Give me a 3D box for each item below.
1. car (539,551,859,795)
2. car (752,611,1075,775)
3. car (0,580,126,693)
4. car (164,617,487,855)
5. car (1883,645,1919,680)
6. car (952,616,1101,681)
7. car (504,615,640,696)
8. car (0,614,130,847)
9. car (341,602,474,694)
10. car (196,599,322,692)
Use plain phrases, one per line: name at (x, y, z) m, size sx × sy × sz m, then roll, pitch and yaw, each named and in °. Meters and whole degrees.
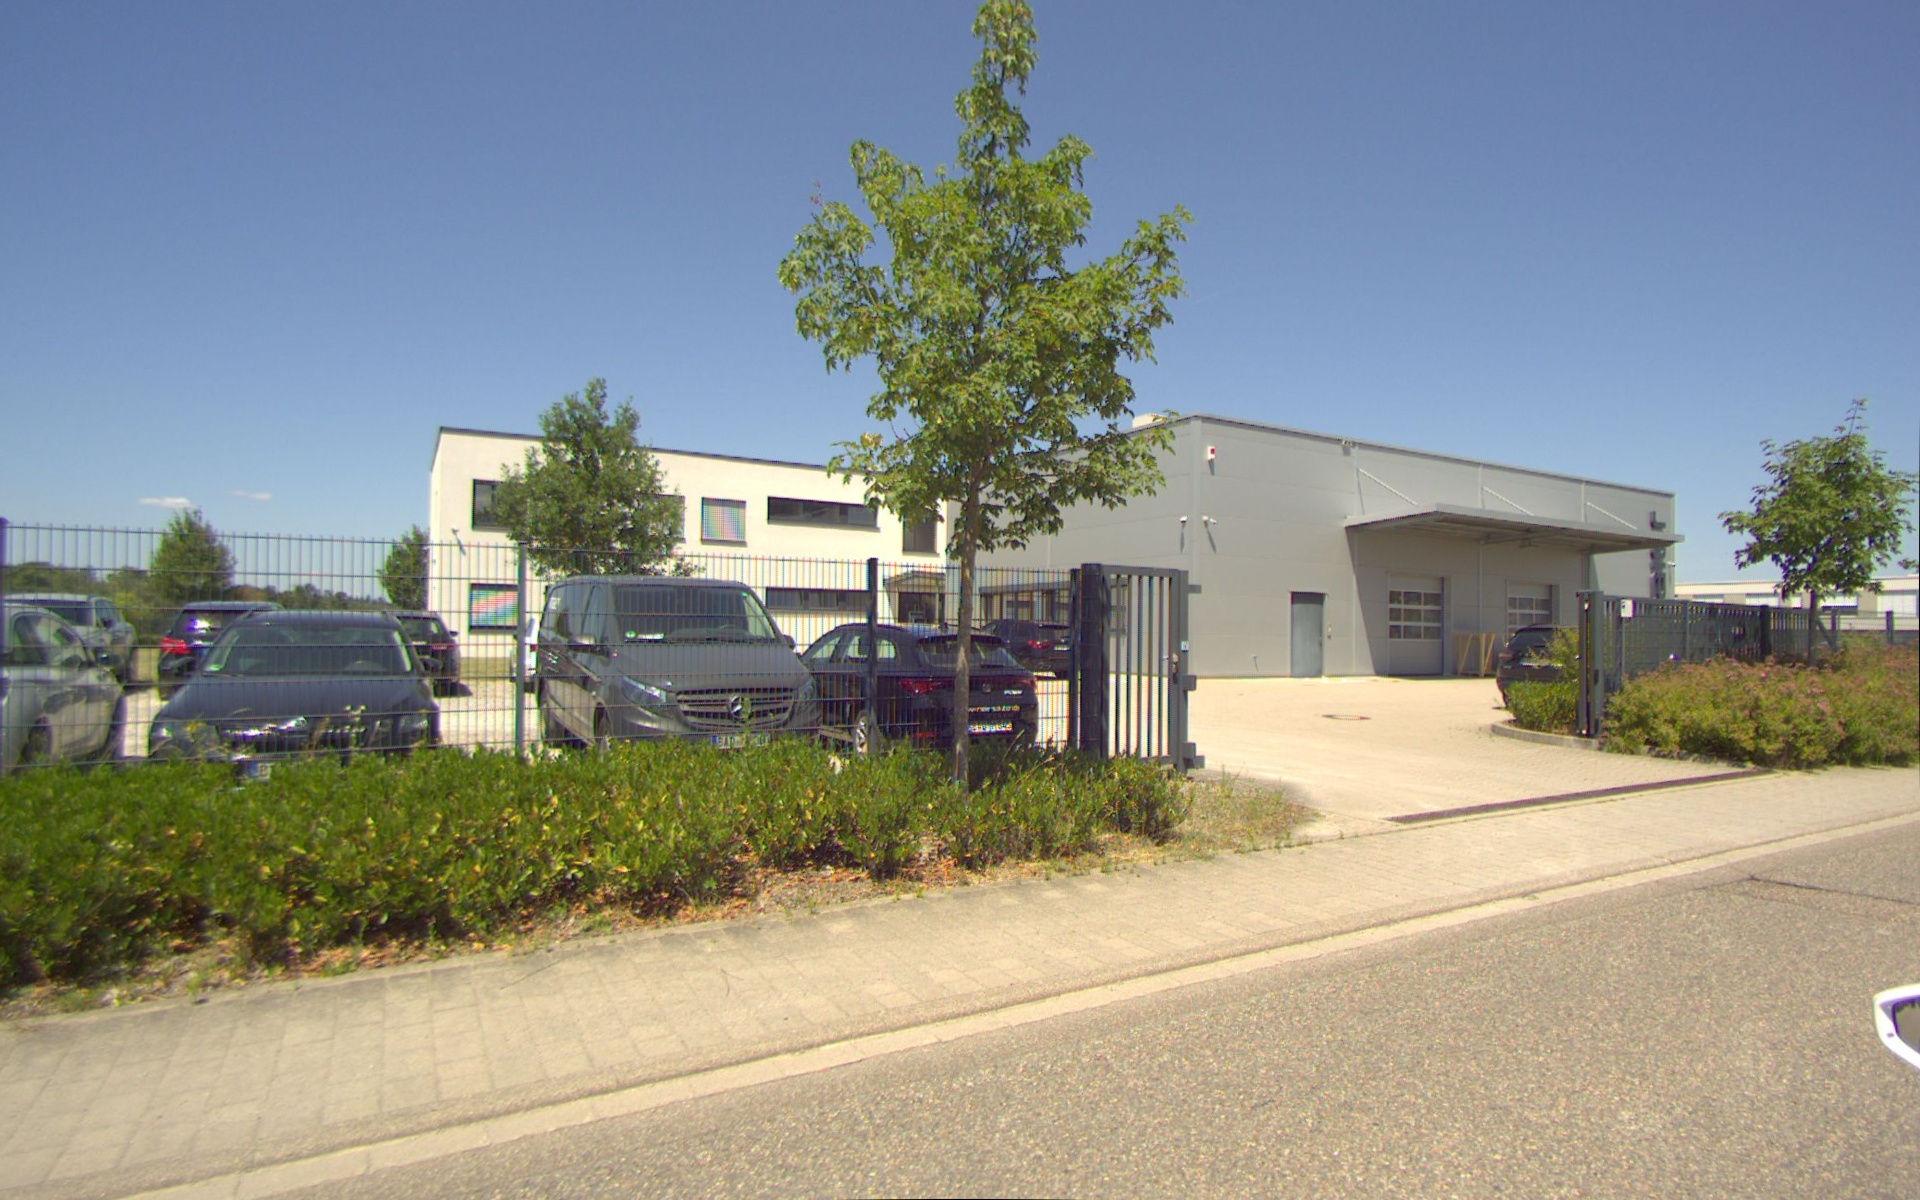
car at (-2.975, 0.603, 10.419) m, size 1.941 × 1.875 × 5.035 m, roll 1°, pitch -1°, yaw -30°
car at (-0.750, 0.887, 11.454) m, size 1.941 × 1.465 × 4.284 m, roll 2°, pitch -1°, yaw -30°
car at (-14.457, 0.530, 15.782) m, size 1.460 × 1.605 × 3.455 m, roll 1°, pitch -1°, yaw -30°
car at (-5.400, 0.939, 8.847) m, size 1.882 × 1.518 × 4.173 m, roll 1°, pitch -1°, yaw -30°
car at (39.570, 2.547, 41.057) m, size 3.719 × 1.355 × 1.815 m, roll 2°, pitch -2°, yaw -33°
car at (1.629, 1.204, 26.061) m, size 1.976 × 1.517 × 4.071 m, roll 2°, pitch -1°, yaw -29°
car at (-7.619, 0.997, 19.492) m, size 1.859 × 1.368 × 4.087 m, roll 2°, pitch -1°, yaw -30°
car at (-7.976, 0.877, 7.722) m, size 1.882 × 1.518 × 3.354 m, roll 1°, pitch -1°, yaw -30°
car at (-9.923, 0.792, 18.019) m, size 1.859 × 1.433 × 4.087 m, roll 1°, pitch -1°, yaw -30°
car at (-12.008, 0.739, 17.371) m, size 1.460 × 1.433 × 3.455 m, roll 1°, pitch -1°, yaw -30°
